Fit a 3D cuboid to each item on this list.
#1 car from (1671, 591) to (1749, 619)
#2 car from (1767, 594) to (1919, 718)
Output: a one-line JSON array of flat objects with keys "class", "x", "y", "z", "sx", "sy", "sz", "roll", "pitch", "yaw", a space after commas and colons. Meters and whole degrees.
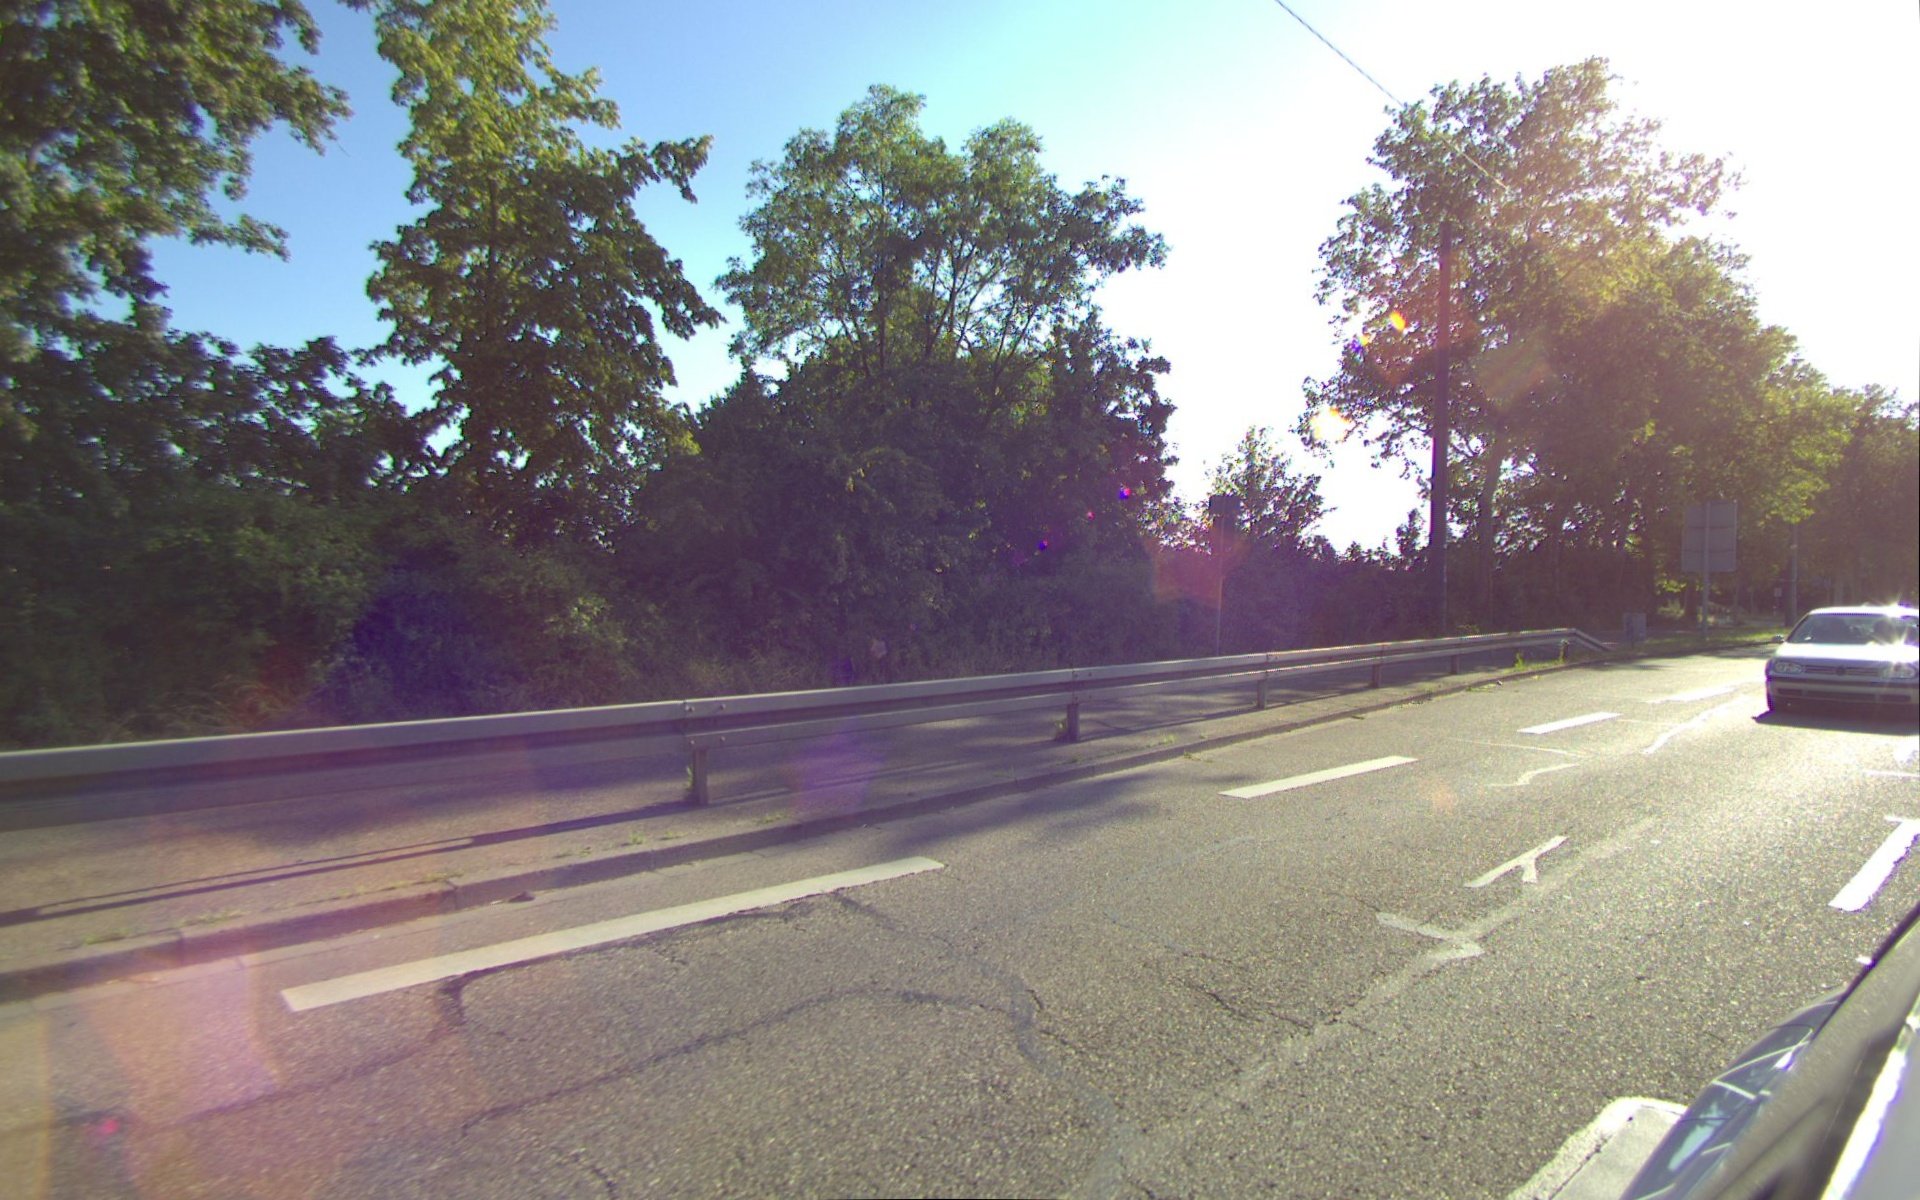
[{"class": "car", "x": 49.757, "y": 0.292, "z": 67.266, "sx": 3.972, "sy": 1.685, "sz": 1.869, "roll": 2, "pitch": 1, "yaw": 33}, {"class": "car", "x": 12.697, "y": 0.661, "z": 13.934, "sx": 3.930, "sy": 1.463, "sz": 1.724, "roll": 0, "pitch": 1, "yaw": -40}]
